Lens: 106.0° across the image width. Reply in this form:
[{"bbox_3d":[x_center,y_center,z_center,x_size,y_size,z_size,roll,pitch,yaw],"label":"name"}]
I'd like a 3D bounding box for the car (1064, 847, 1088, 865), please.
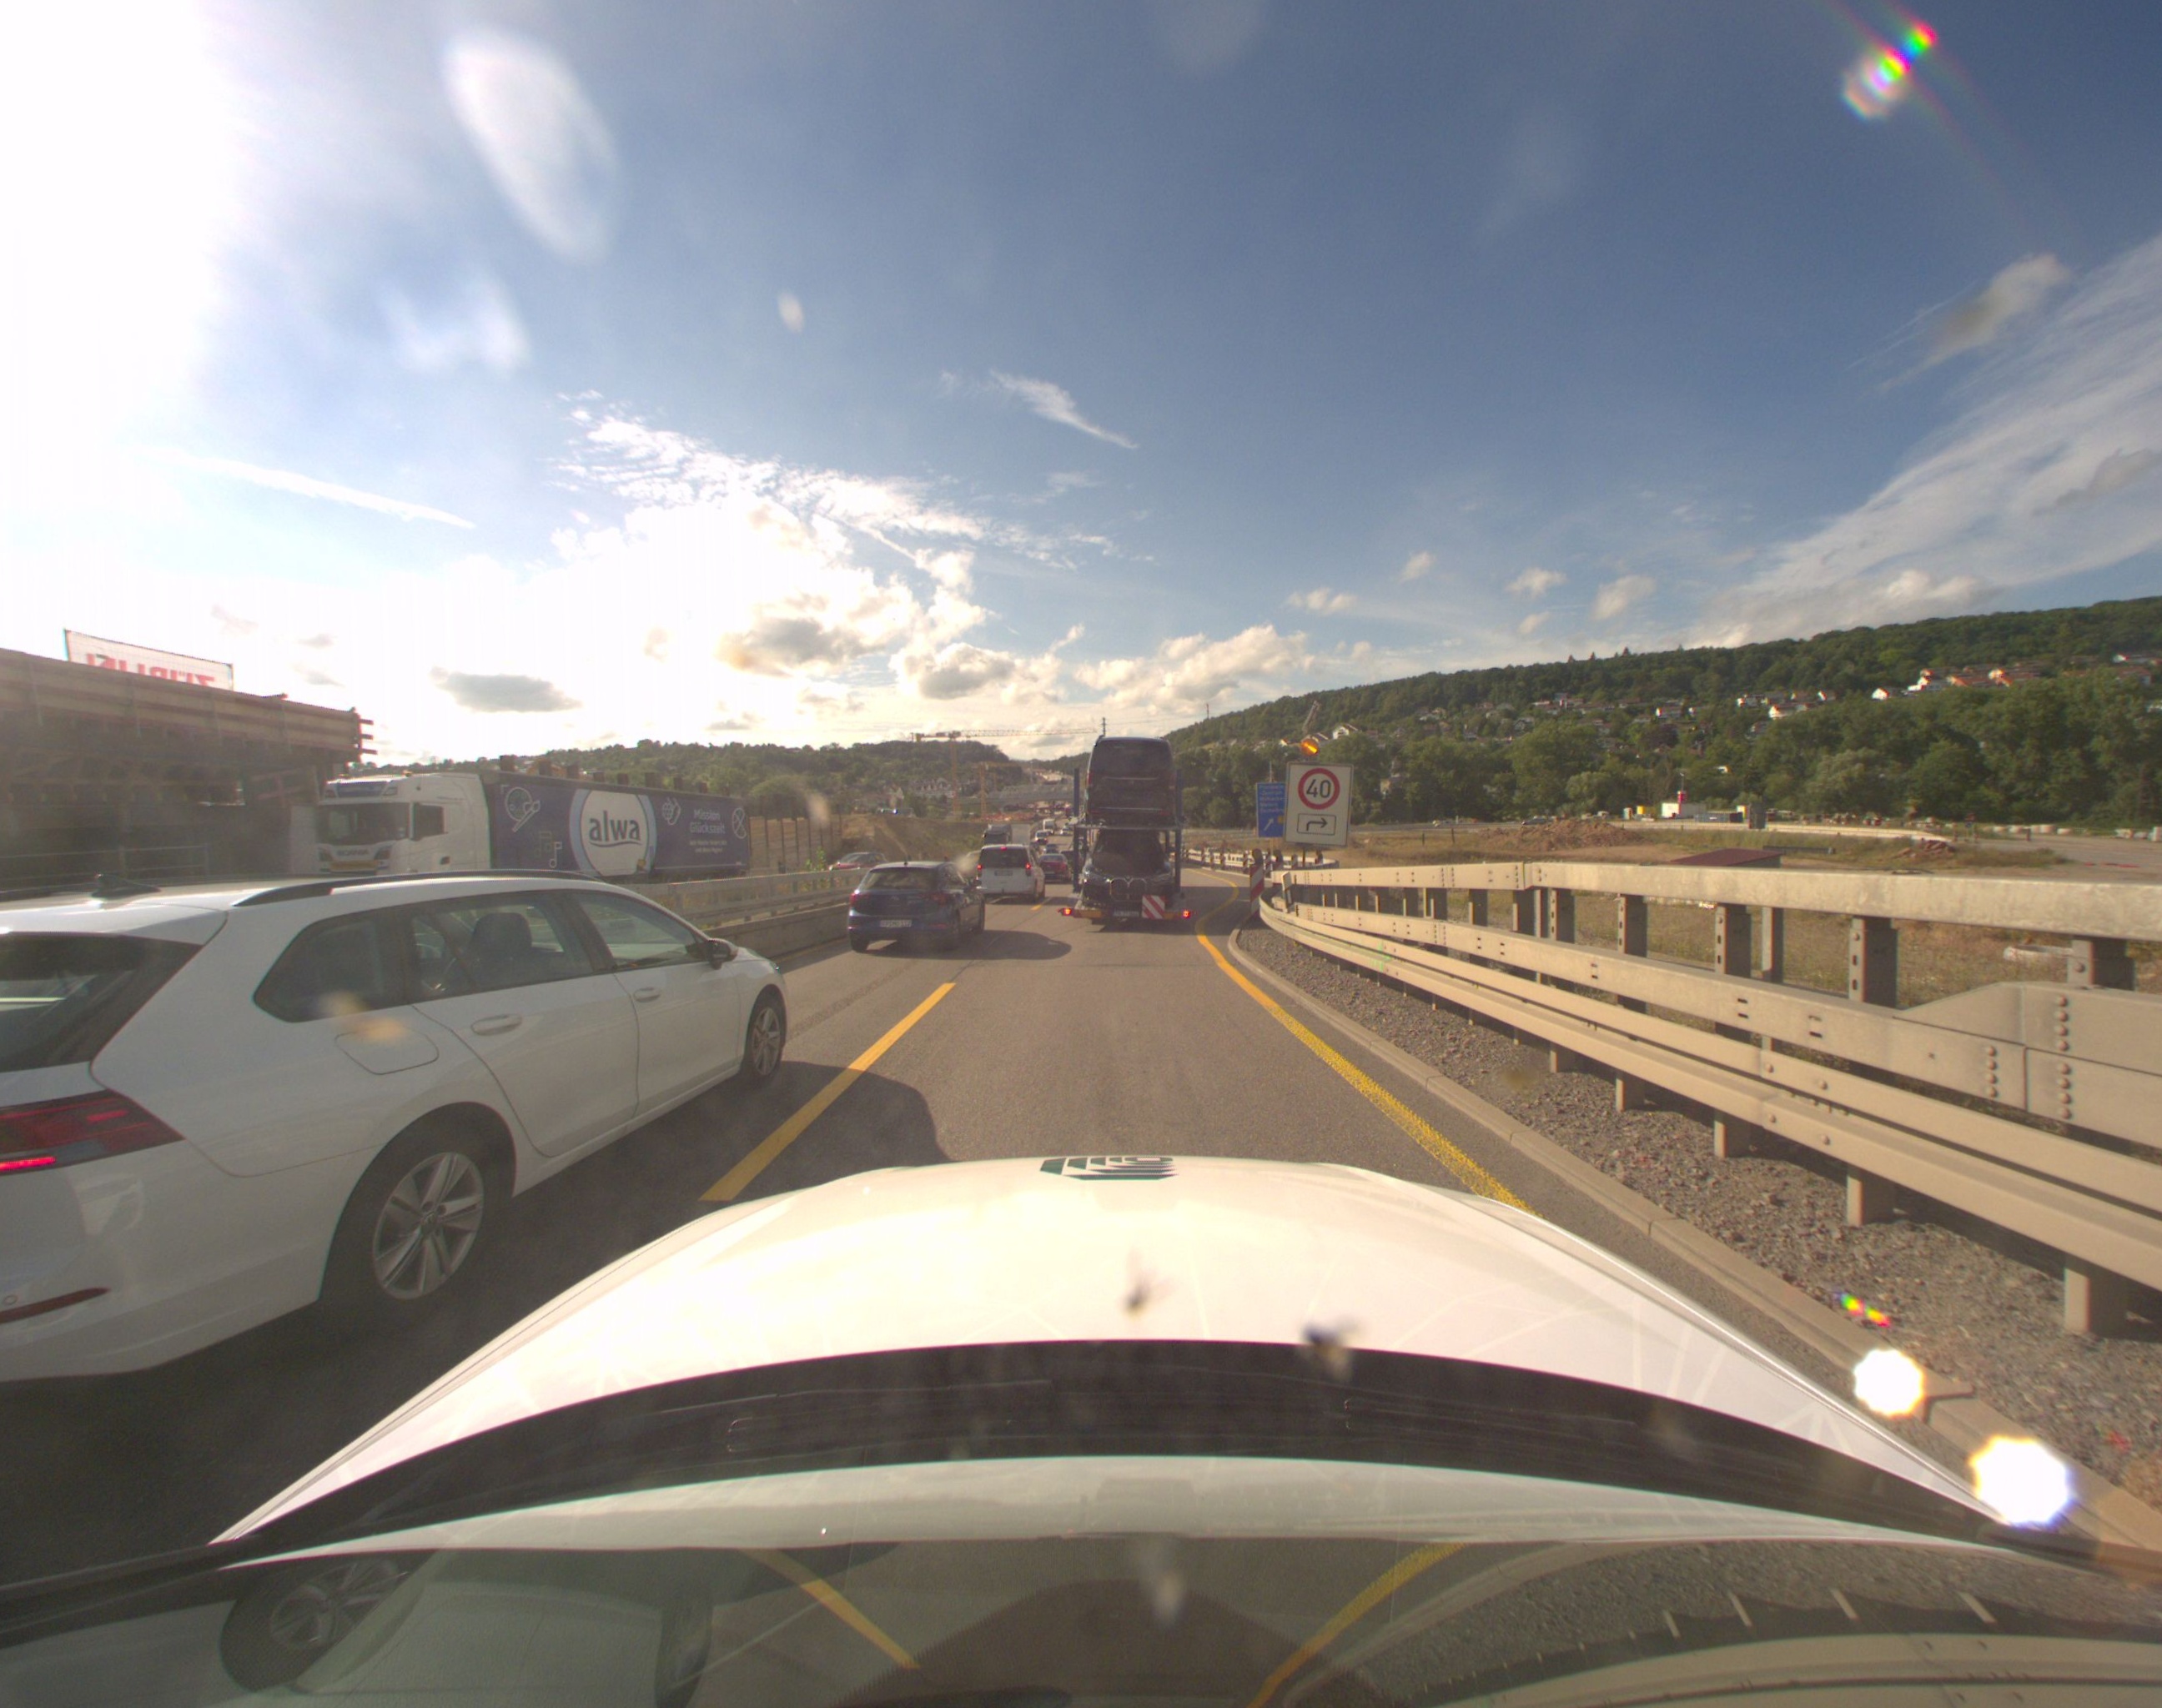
[{"bbox_3d":[-0.405,0.222,73.246,1.985,1.552,4.002,0,-1,2],"label":"car"}]

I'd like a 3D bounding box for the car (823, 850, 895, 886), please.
[{"bbox_3d":[-11.399,0.717,42.128,1.912,1.767,4.338,-1,-1,9],"label":"car"}]

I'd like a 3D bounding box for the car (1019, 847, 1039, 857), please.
[{"bbox_3d":[-7.299,-0.298,115.147,1.907,1.273,4.012,-1,-1,11],"label":"car"}]

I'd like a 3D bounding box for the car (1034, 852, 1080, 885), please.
[{"bbox_3d":[-1.159,0.696,41.118,1.986,1.556,4.403,0,-1,2],"label":"car"}]

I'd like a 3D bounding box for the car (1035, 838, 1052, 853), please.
[{"bbox_3d":[-6.295,-1.342,138.109,2.248,2.402,5.872,0,-1,3],"label":"car"}]

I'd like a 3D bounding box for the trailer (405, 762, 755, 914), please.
[{"bbox_3d":[-16.560,-0.373,29.263,2.673,4.156,13.837,-1,-1,7],"label":"trailer"}]

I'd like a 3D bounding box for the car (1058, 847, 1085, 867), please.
[{"bbox_3d":[-0.713,0.274,66.193,1.985,1.552,4.002,0,-1,2],"label":"car"}]

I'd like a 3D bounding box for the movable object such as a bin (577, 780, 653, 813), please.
[{"bbox_3d":[-52.148,-6.408,91.273,5.707,3.270,4.526,-1,-1,12],"label":"movable object such as a bin"}]

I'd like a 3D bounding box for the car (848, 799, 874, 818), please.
[{"bbox_3d":[-30.808,-6.351,114.216,1.987,2.140,5.321,-6,-1,1],"label":"car"}]

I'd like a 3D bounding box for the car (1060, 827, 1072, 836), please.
[{"bbox_3d":[-3.037,-4.700,168.271,2.118,1.674,4.274,-2,0,2],"label":"car"}]

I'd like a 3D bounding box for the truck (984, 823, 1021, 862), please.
[{"bbox_3d":[-7.965,-1.107,83.713,2.764,3.788,6.025,0,-1,4],"label":"truck"}]

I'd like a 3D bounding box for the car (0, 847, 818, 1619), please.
[{"bbox_3d":[-2.931,0.799,3.833,1.763,1.491,4.517,-2,-1,1],"label":"car"}]

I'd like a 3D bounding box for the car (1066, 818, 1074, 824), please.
[{"bbox_3d":[-2.912,-8.950,221.028,1.846,1.635,4.753,-2,4,2],"label":"car"}]

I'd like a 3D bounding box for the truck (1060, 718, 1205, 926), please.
[{"bbox_3d":[1.372,-0.534,25.004,2.742,3.955,18.899,1,-1,2],"label":"truck"}]

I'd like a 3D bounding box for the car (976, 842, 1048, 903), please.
[{"bbox_3d":[-2.135,0.575,26.306,1.816,1.792,4.002,0,-1,2],"label":"car"}]

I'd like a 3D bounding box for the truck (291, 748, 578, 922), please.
[{"bbox_3d":[-17.315,-0.427,22.447,2.698,4.137,5.981,-1,-1,6],"label":"truck"}]

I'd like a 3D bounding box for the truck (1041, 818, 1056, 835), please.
[{"bbox_3d":[-6.796,-5.717,170.573,2.691,3.311,7.539,0,-1,1],"label":"truck"}]

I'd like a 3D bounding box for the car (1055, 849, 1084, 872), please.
[{"bbox_3d":[-0.788,0.459,57.046,1.987,1.552,3.999,0,-1,0],"label":"car"}]

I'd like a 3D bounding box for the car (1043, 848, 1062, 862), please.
[{"bbox_3d":[-3.627,0.150,104.318,1.984,1.726,4.129,0,-1,5],"label":"car"}]

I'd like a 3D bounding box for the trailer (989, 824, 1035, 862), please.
[{"bbox_3d":[-7.456,-1.076,89.992,2.808,3.841,13.820,0,-1,5],"label":"trailer"}]

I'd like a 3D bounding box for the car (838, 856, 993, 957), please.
[{"bbox_3d":[-2.747,0.809,14.456,1.715,1.422,4.003,-2,1,3],"label":"car"}]
